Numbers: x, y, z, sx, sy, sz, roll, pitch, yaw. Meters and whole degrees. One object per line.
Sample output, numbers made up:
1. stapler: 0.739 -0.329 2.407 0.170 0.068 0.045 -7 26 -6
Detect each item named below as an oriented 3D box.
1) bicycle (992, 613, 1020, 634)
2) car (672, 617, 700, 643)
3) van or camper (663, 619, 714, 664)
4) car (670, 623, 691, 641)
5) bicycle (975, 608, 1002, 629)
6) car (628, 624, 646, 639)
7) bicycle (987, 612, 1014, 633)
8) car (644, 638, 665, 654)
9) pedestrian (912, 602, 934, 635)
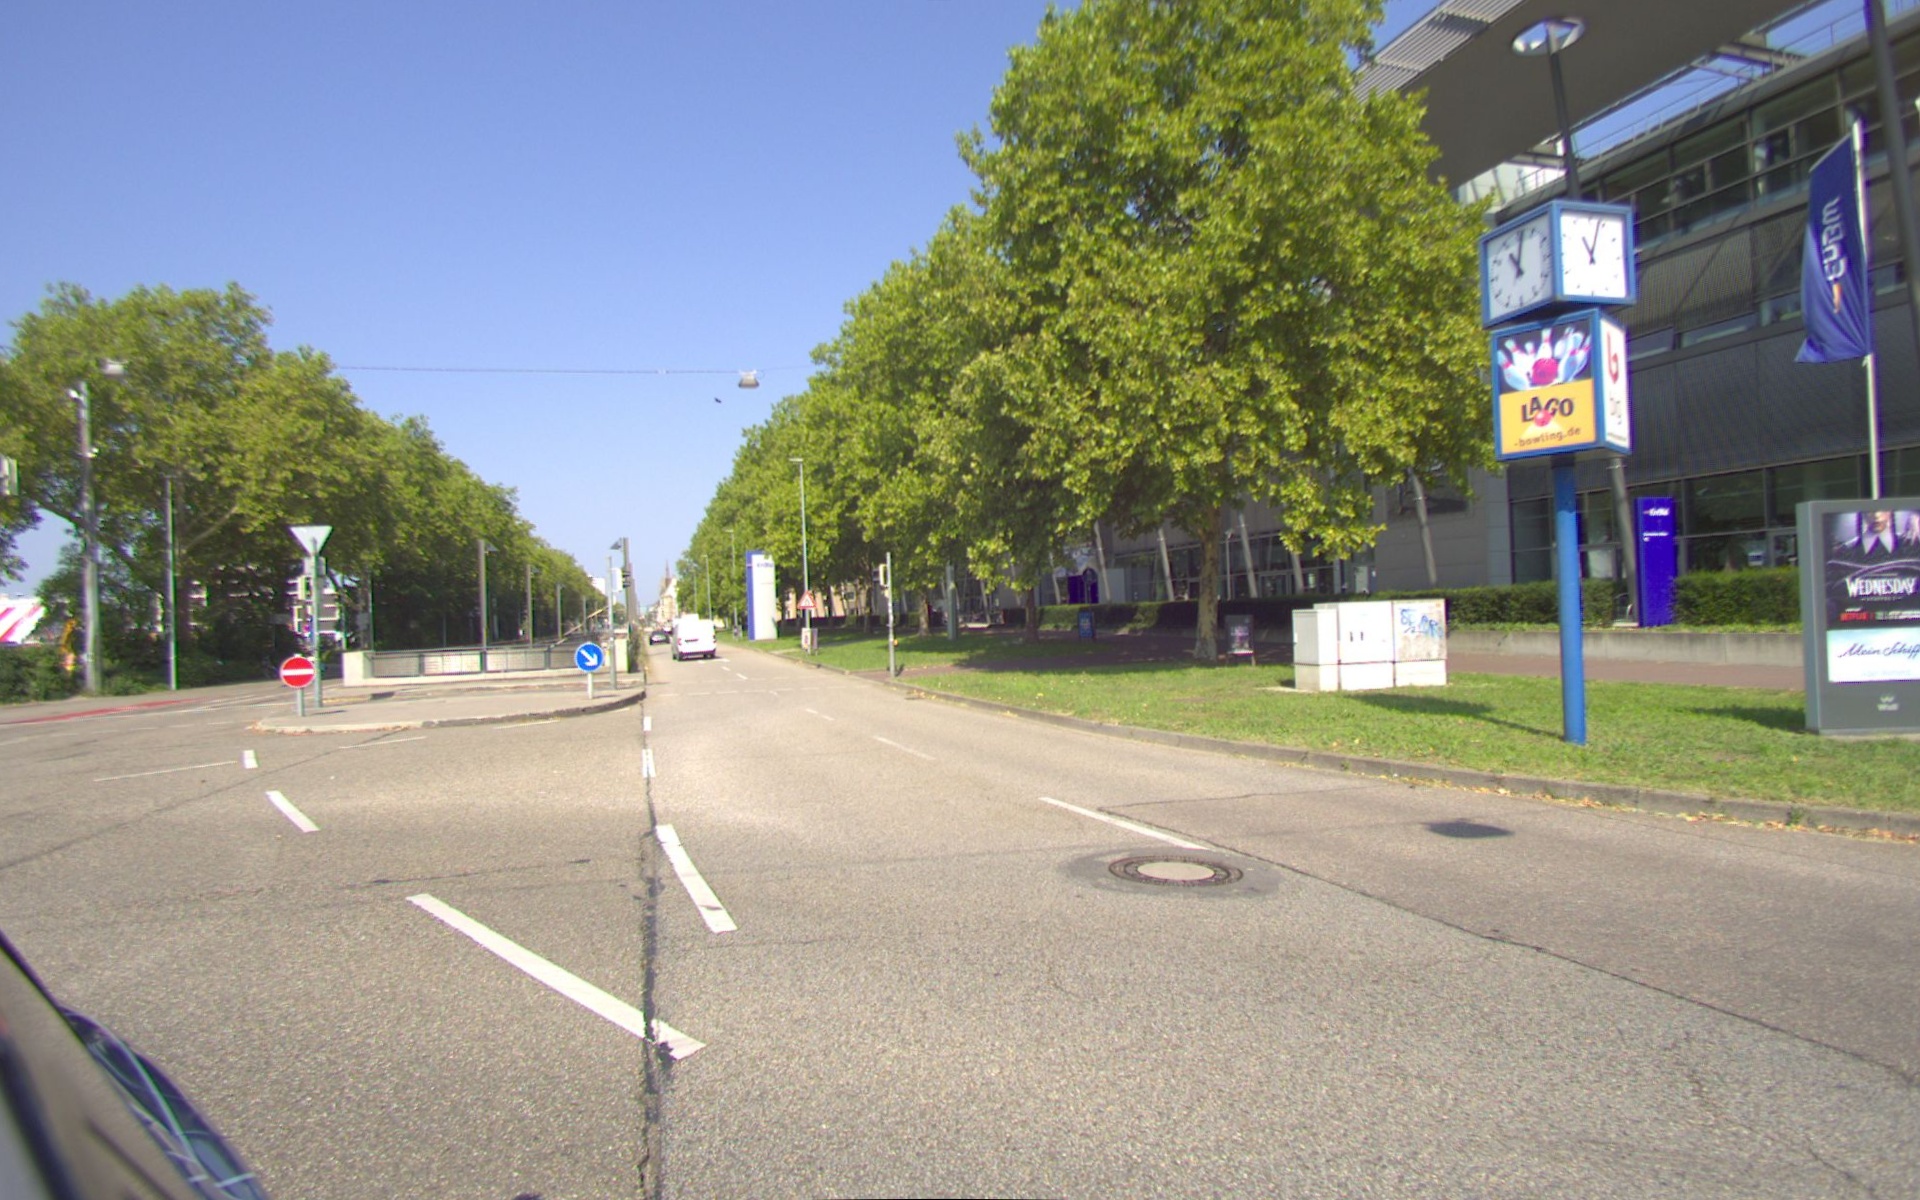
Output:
1. bicycle: 3.852 1.932 84.624 2.133 1.566 0.602 -5 0 -25
2. car: -27.009 2.949 99.708 2.254 2.249 4.670 -5 0 -19
3. van or camper: -13.323 2.069 49.544 1.815 1.962 4.963 -3 -3 -21
4. car: -37.844 4.337 137.006 2.254 2.095 4.670 -5 0 -19
5. bicycle: 2.434 1.562 86.059 2.133 1.566 0.602 -5 0 -25
6. car: -47.743 4.695 149.537 1.966 2.028 4.013 -5 0 -23
7. bicycle: 3.433 1.926 85.427 2.133 1.566 0.602 -5 0 -25
8. car: -28.685 4.294 95.000 1.633 1.230 3.906 -5 0 -20
9. pedestrian: -2.376 1.170 65.022 0.933 2.028 1.353 -5 0 -16
